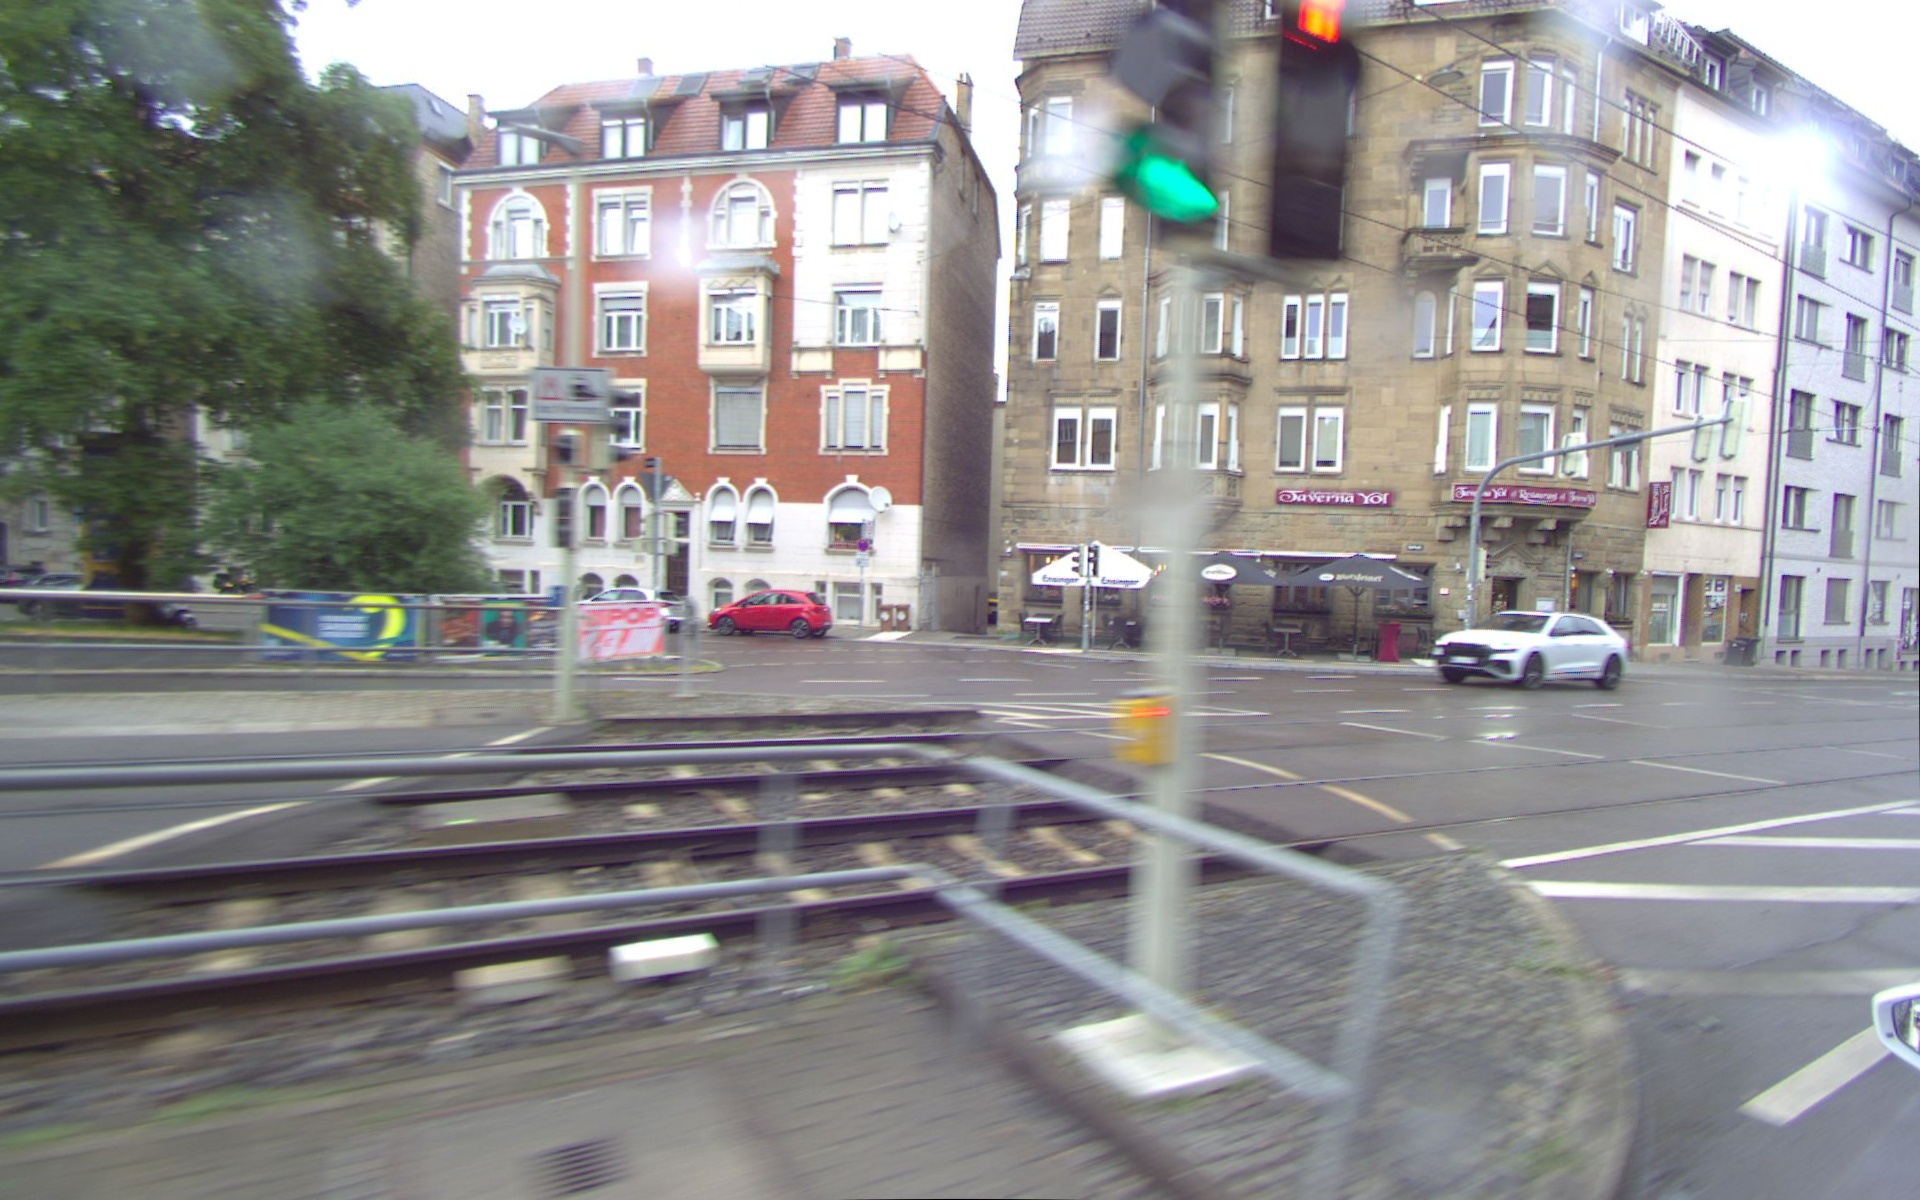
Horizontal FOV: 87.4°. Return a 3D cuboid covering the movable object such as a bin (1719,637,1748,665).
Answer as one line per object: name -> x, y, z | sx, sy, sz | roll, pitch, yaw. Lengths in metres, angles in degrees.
movable object such as a bin -> 28.182, 1.860, 36.620 | 0.553, 0.923, 0.591 | 2, 4, -30

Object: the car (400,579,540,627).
car -> -16.738, 0.104, 34.365 | 4.059, 1.421, 1.743 | 2, 0, 13

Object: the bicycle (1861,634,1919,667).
bicycle -> 54.116, 2.881, 57.878 | 1.585, 1.606, 3.119 | -5, 5, -40

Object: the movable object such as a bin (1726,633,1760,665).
movable object such as a bin -> 28.790, 1.807, 36.941 | 0.679, 1.088, 0.709 | 2, 4, -30

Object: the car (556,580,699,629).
car -> -10.880, 0.149, 32.963 | 4.083, 1.421, 1.743 | 2, 0, 13

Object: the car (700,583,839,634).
car -> -6.004, 0.255, 31.858 | 3.919, 1.421, 1.743 | 2, 0, 13

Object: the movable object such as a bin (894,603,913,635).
movable object such as a bin -> -1.916, 0.661, 34.323 | 0.540, 1.056, 0.722 | 2, 0, 1

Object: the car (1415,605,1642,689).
car -> 12.630, 1.029, 22.225 | 5.190, 1.649, 1.984 | 2, 0, -30

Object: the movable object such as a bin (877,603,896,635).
movable object such as a bin -> -2.502, 0.629, 34.198 | 0.540, 1.056, 0.722 | 2, 0, 1
